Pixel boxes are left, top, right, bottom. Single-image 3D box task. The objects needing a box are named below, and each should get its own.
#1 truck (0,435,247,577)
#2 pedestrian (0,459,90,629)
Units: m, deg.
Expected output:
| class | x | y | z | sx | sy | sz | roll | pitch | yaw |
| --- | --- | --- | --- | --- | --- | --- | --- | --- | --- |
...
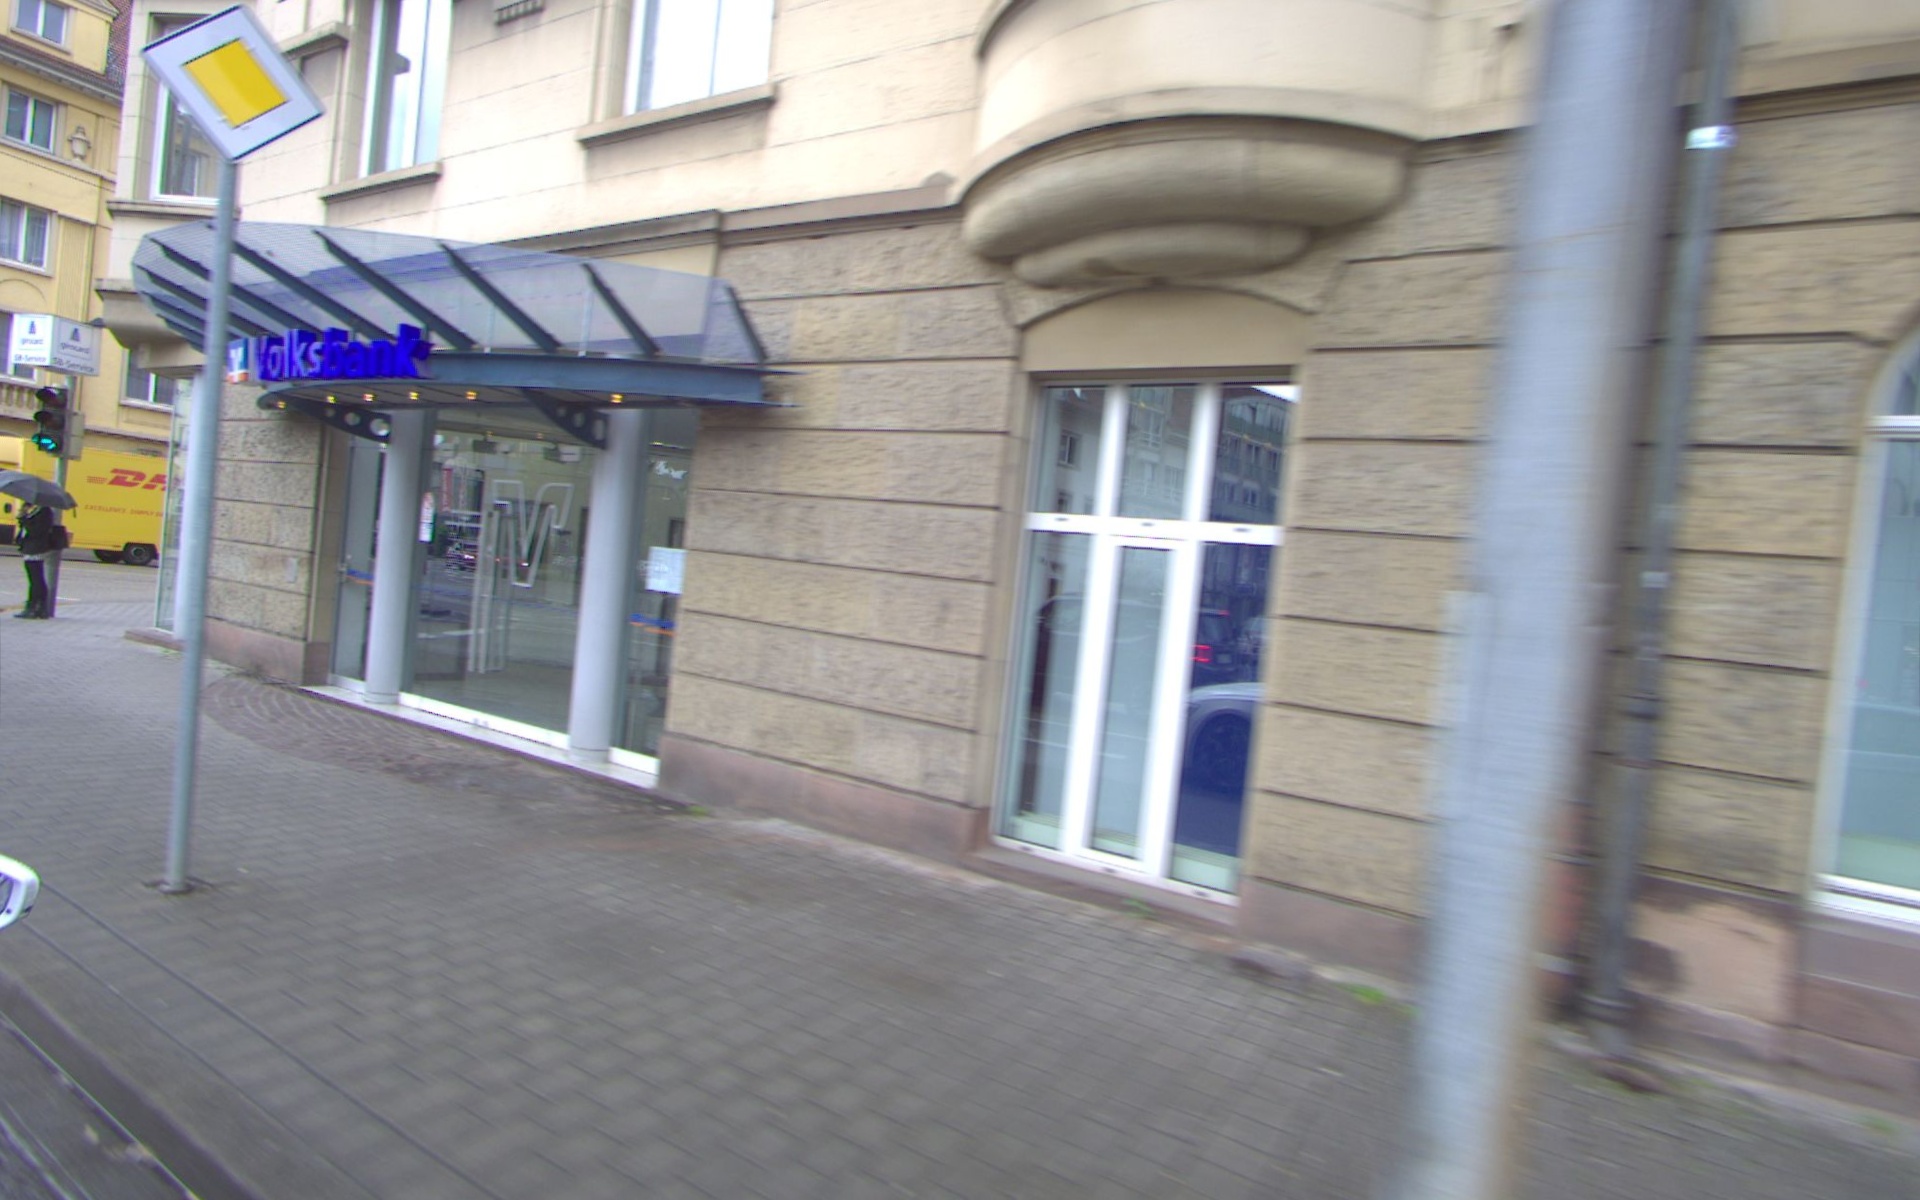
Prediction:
| class | x | y | z | sx | sy | sz | roll | pitch | yaw |
| --- | --- | --- | --- | --- | --- | --- | --- | --- | --- |
| truck | -22.631 | -2.396 | 25.464 | 2.048 | 2.886 | 7.100 | 6 | -1 | 31 |
| pedestrian | -11.434 | -0.691 | 12.277 | 1.052 | 1.927 | 1.014 | 6 | 1 | -39 |
